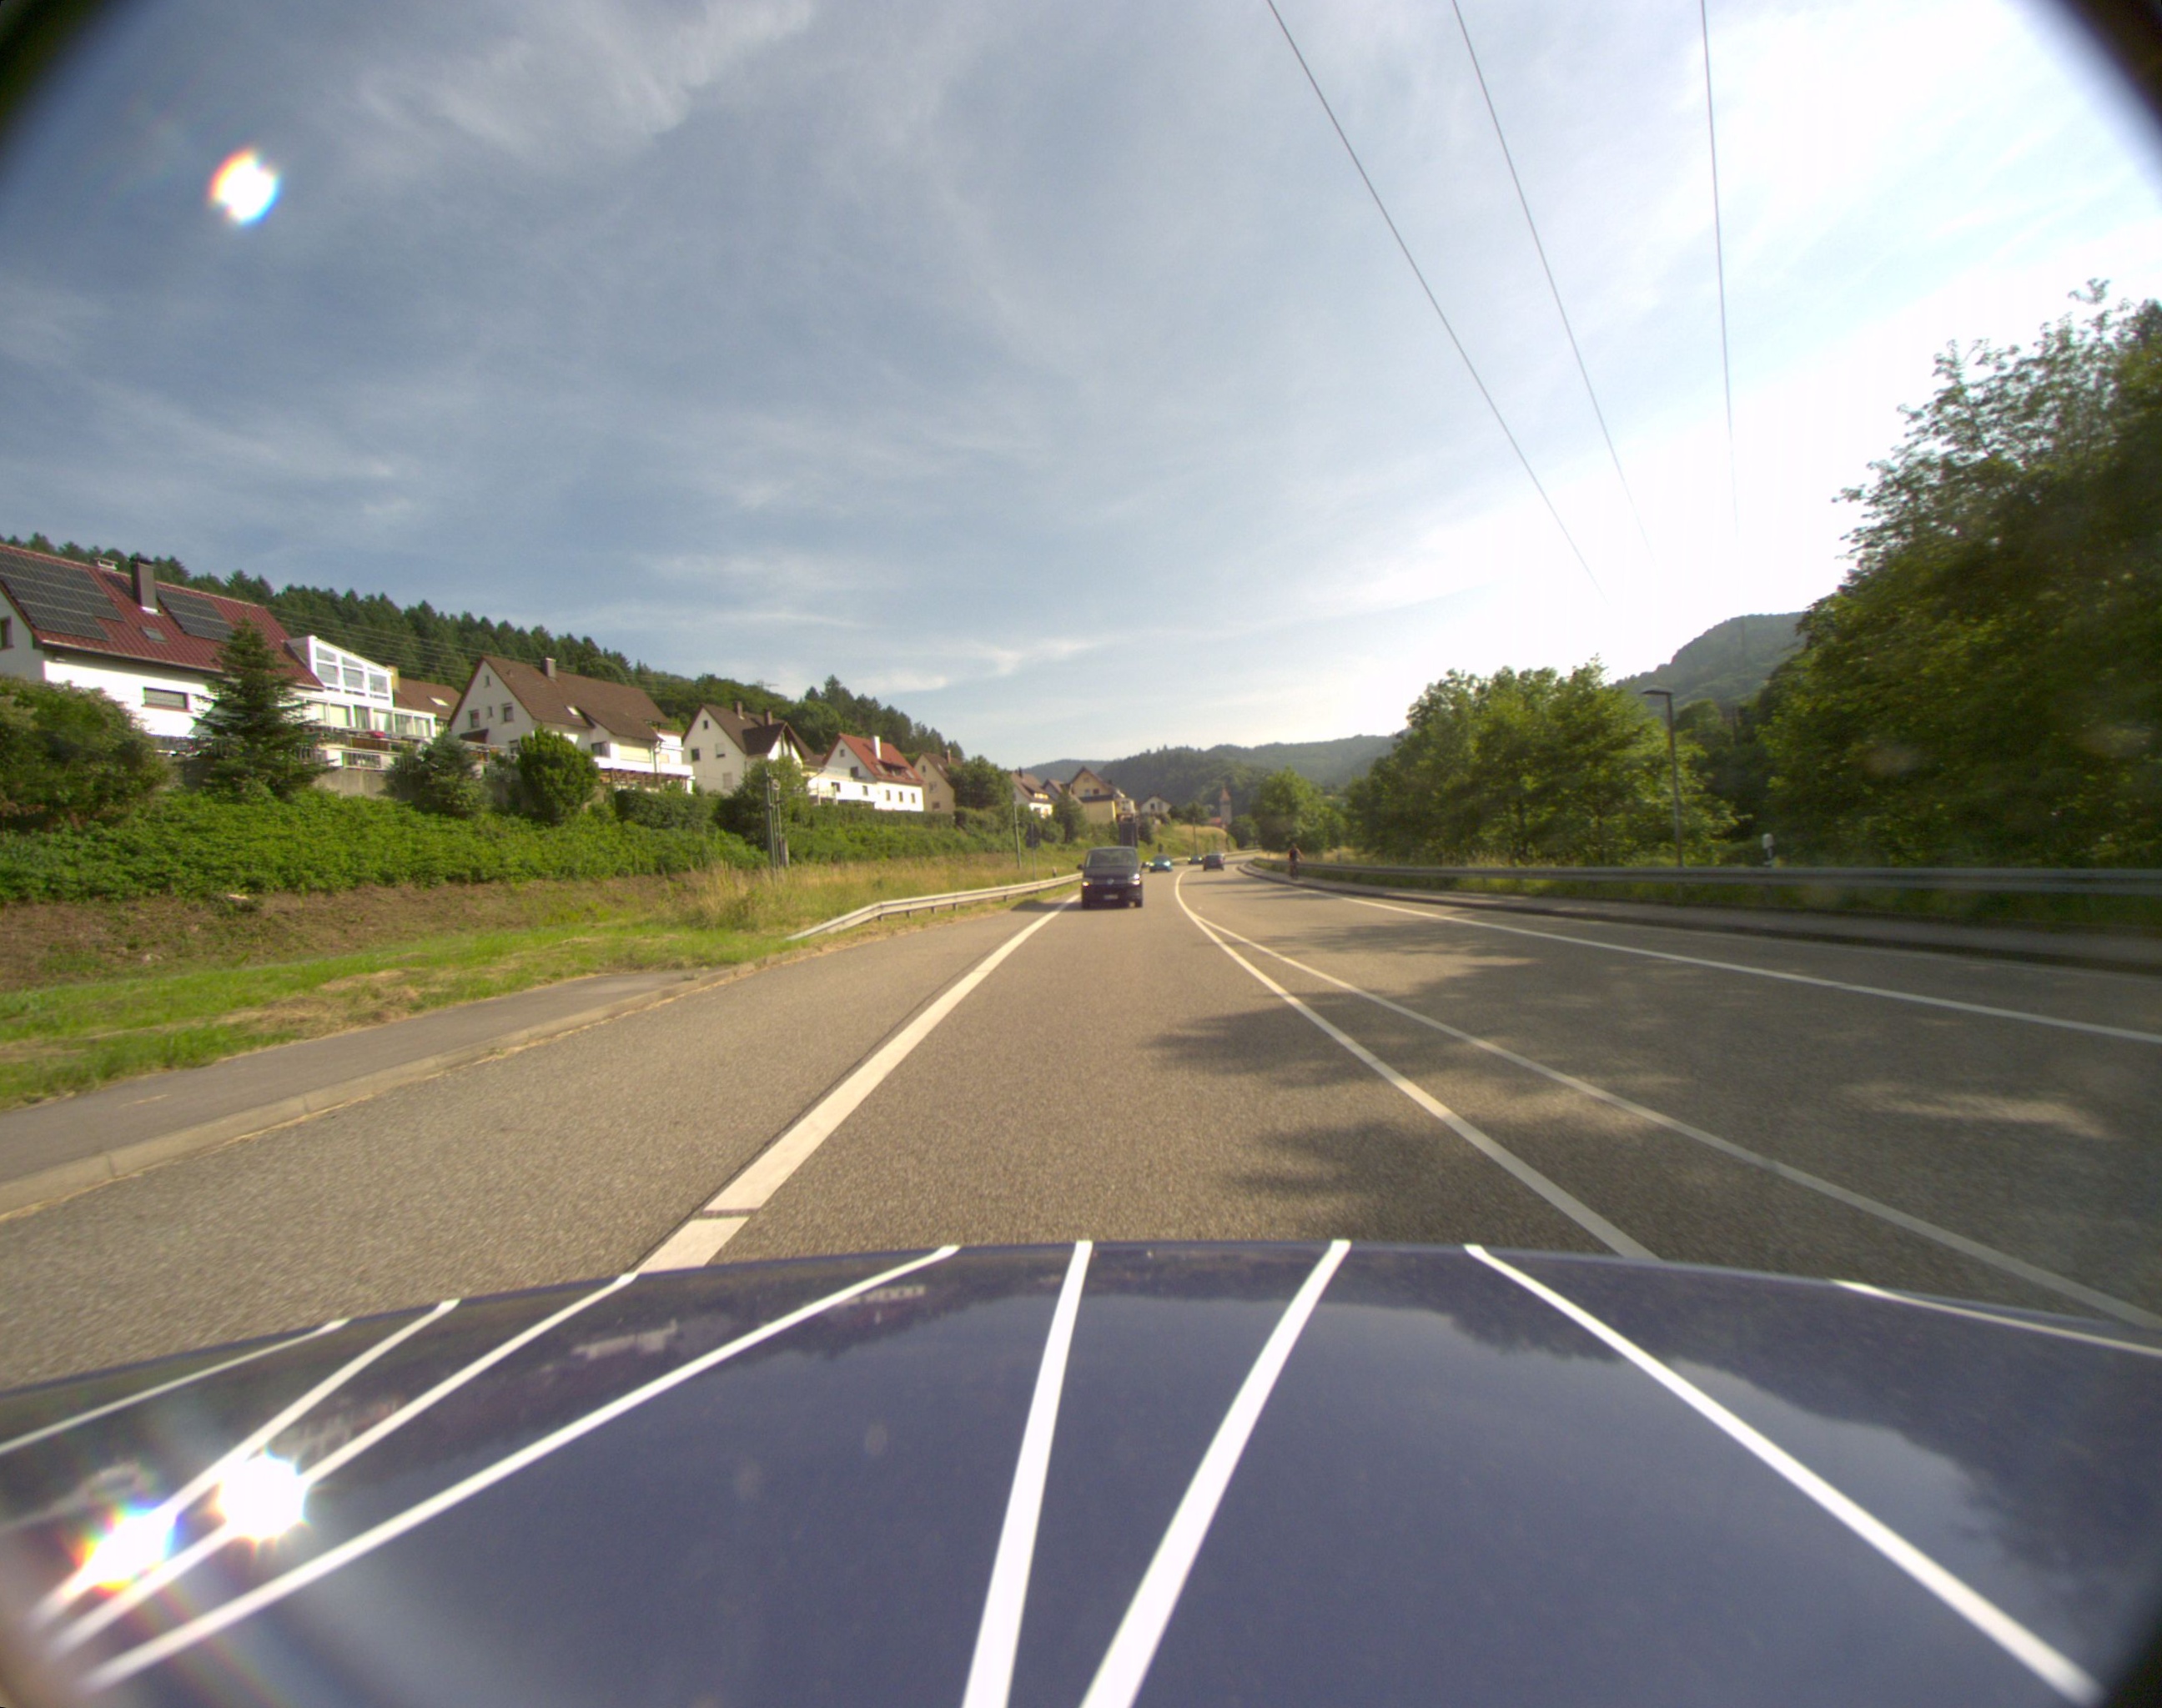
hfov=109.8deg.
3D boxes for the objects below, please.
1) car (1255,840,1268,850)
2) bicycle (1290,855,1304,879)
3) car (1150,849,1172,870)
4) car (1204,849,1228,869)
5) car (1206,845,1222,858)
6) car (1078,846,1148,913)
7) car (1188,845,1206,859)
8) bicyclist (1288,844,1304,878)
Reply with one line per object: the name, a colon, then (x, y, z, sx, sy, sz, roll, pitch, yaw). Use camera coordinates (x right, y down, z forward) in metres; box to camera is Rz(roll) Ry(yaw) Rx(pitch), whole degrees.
car: (32.967, -1.606, 138.645, 1.997, 1.620, 4.001, -2, 2, 9)
bicycle: (10.696, 0.625, 37.702, 0.558, 1.039, 2.232, -7, -1, 15)
car: (7.079, 0.455, 66.933, 1.884, 1.735, 4.180, -1, 1, 7)
car: (11.694, 0.426, 65.899, 1.894, 1.480, 4.003, -4, 0, 11)
car: (19.732, -0.336, 112.297, 1.883, 1.735, 4.183, -3, 0, 15)
car: (1.133, 0.764, 24.835, 2.017, 1.905, 4.313, -2, 0, 5)
car: (14.881, -0.294, 97.306, 1.883, 1.735, 4.182, -3, 0, 12)
bicyclist: (10.657, 0.345, 37.715, 0.558, 1.577, 1.037, -7, -1, 15)
